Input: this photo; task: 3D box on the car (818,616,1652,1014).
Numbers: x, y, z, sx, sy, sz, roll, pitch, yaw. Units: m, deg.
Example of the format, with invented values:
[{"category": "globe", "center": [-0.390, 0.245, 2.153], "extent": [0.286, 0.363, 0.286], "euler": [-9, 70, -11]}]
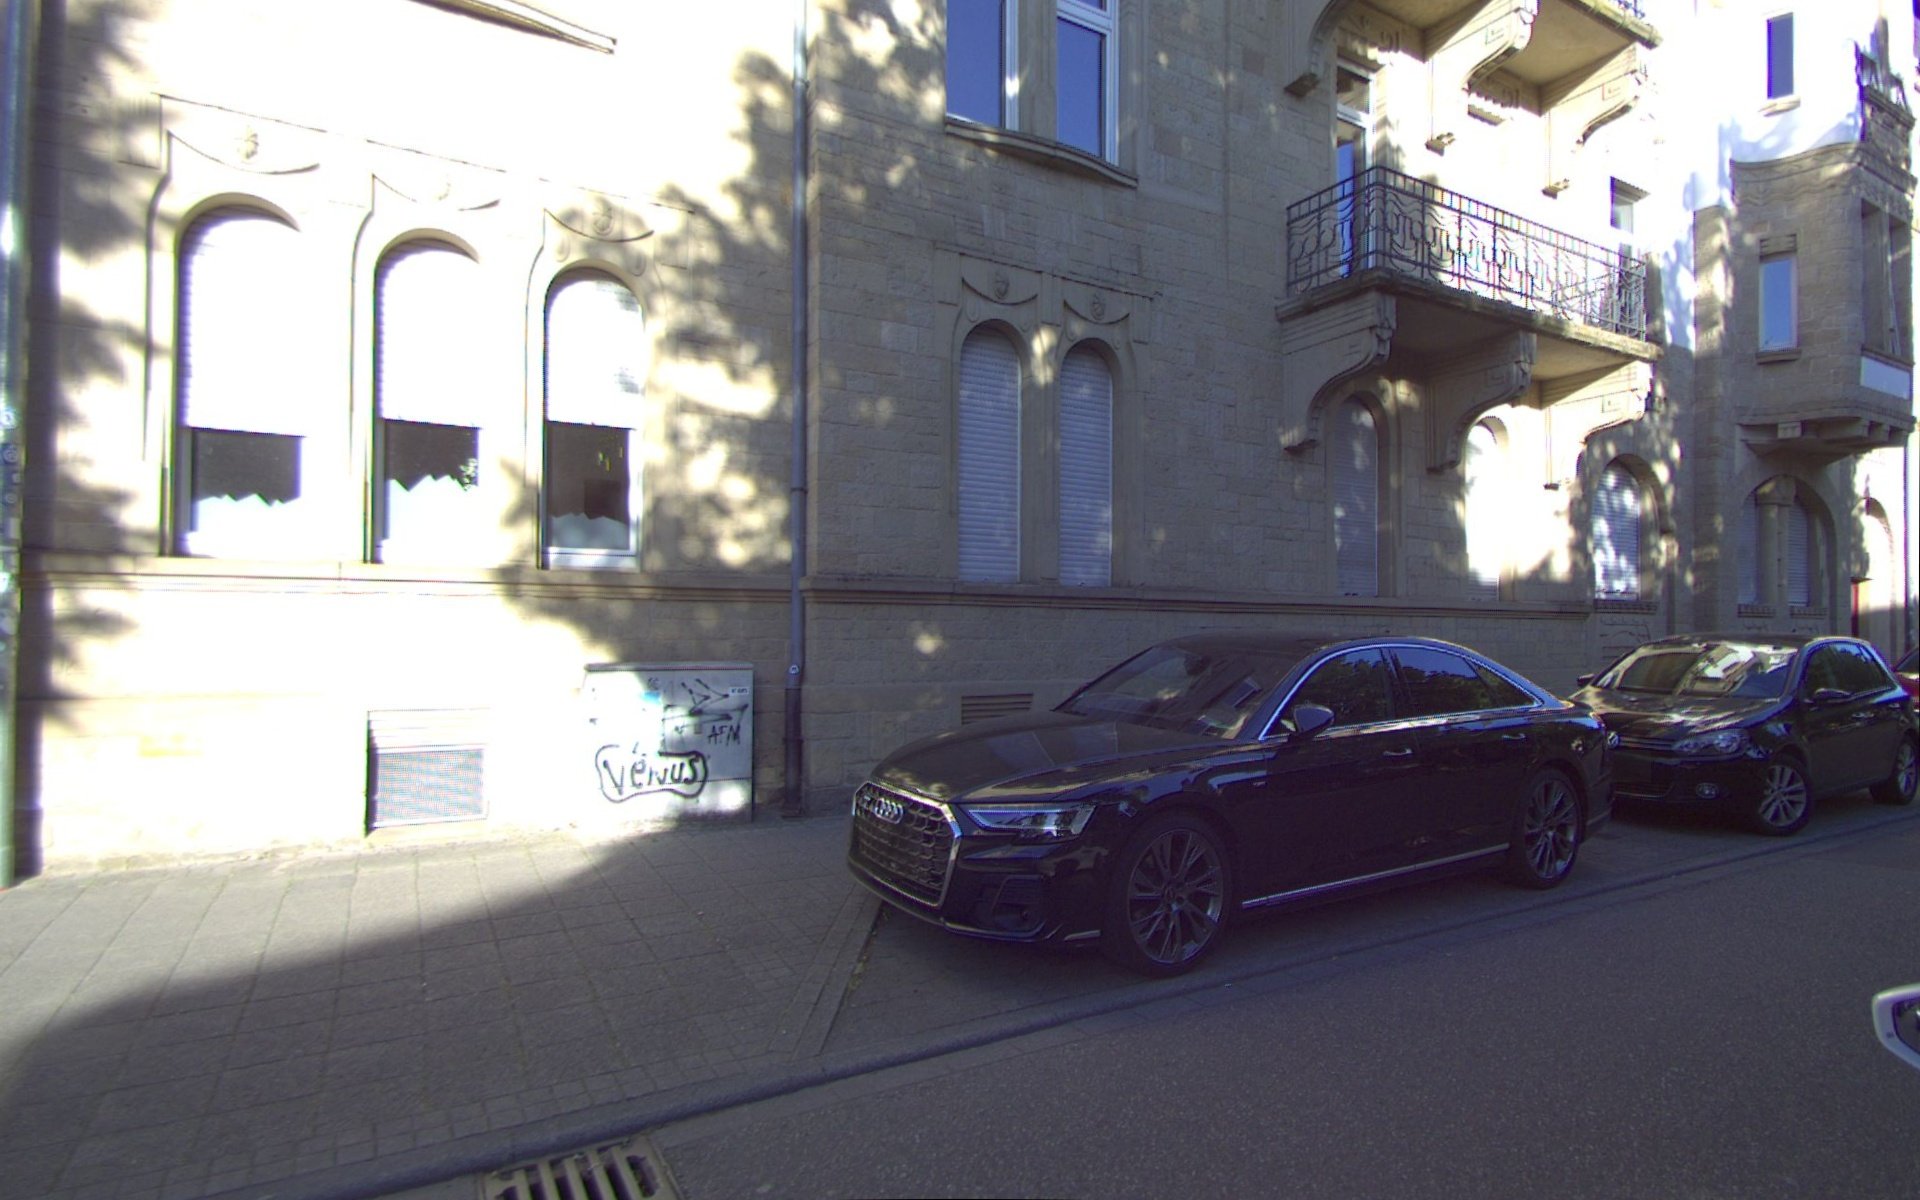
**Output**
[{"category": "car", "center": [1.784, 0.900, 5.838], "extent": [4.841, 1.446, 1.802], "euler": [2, 1, -31]}]

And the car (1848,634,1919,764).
[{"category": "car", "center": [12.757, 1.186, 12.475], "extent": [3.796, 1.473, 1.620], "euler": [1, 0, -33]}]

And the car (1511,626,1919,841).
[{"category": "car", "center": [6.734, 1.006, 8.725], "extent": [3.983, 1.472, 1.687], "euler": [2, -2, -32]}]
